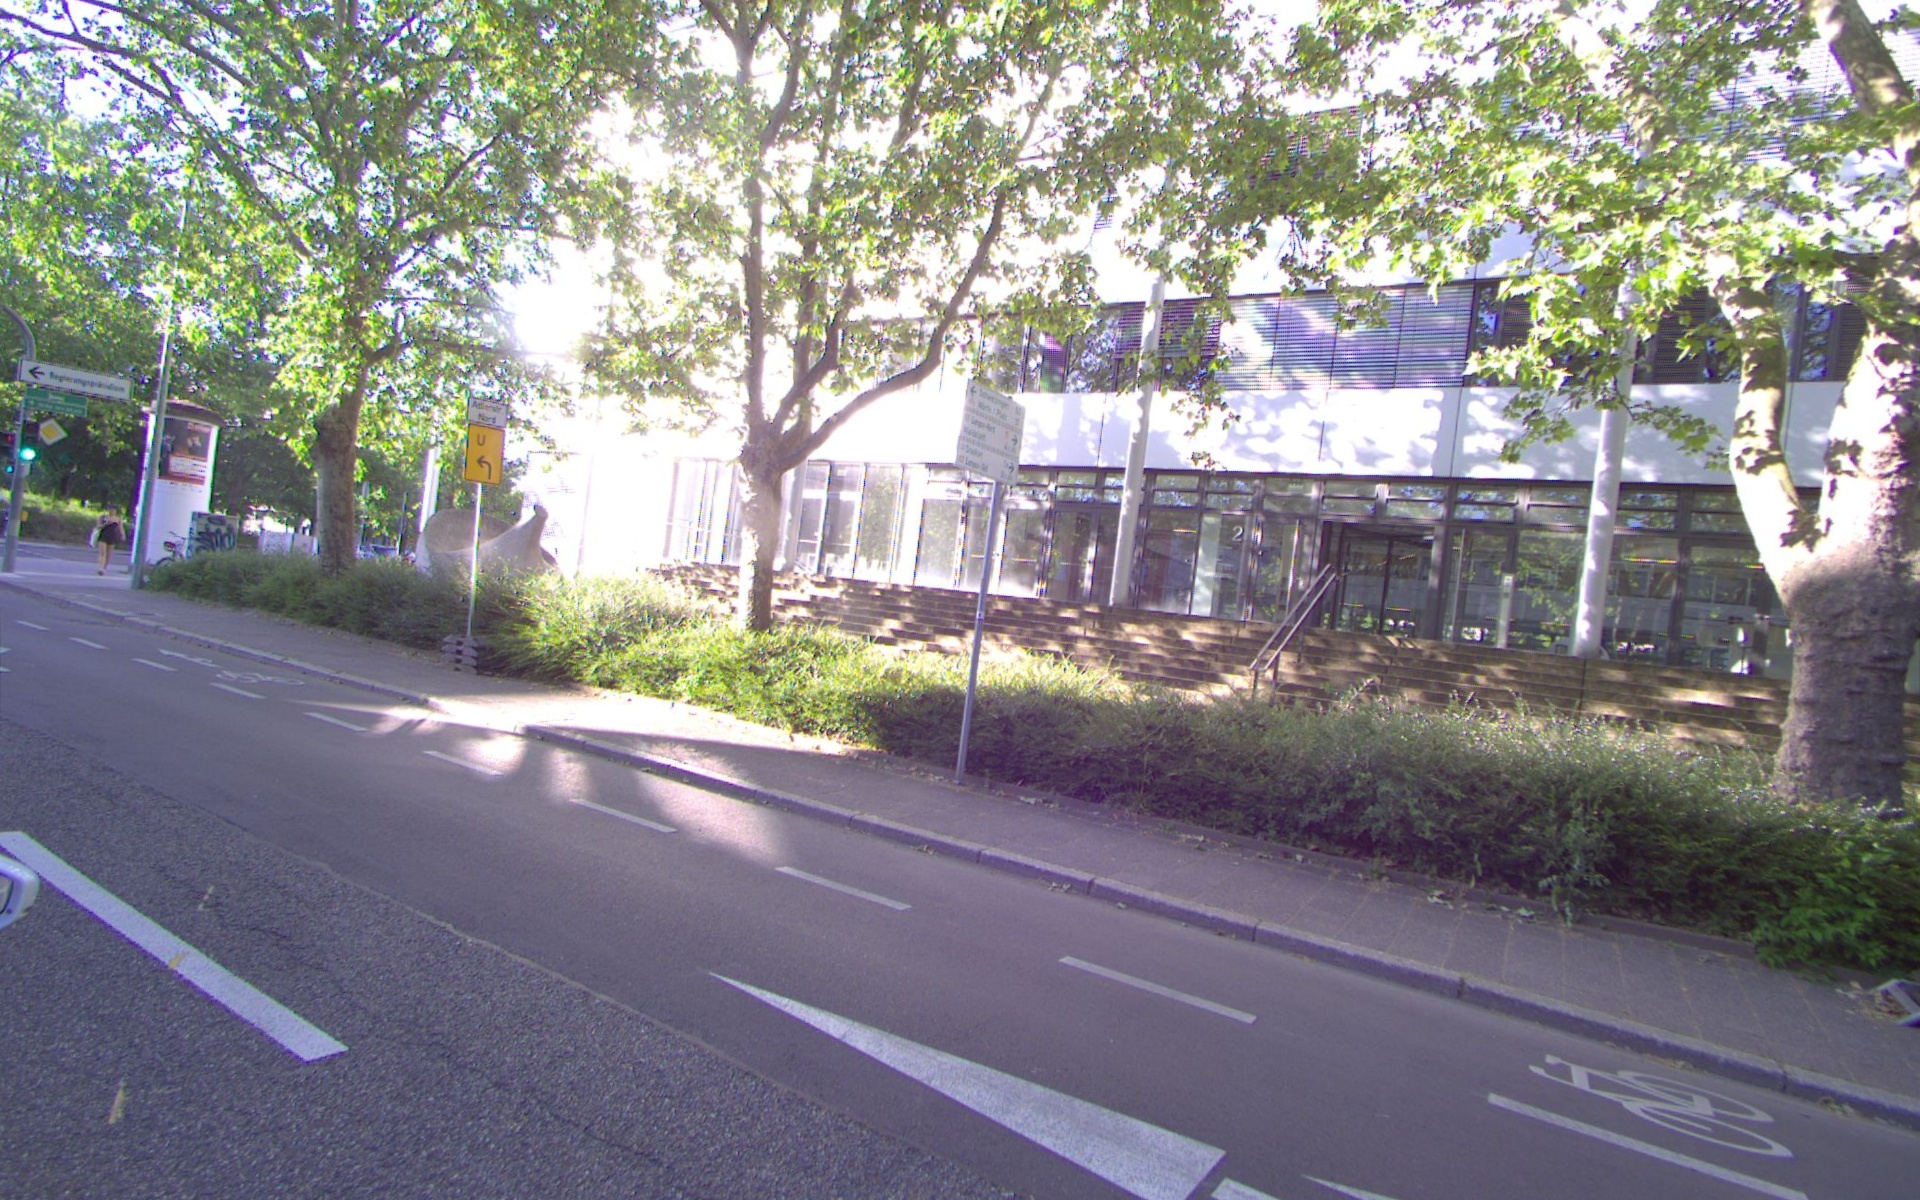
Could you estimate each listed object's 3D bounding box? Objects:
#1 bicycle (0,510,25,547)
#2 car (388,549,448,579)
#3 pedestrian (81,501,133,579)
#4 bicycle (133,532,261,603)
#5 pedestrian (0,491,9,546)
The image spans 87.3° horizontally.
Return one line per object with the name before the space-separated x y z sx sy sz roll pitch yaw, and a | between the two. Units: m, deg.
bicycle | -30.905 -2.340 32.554 1.714 1.113 0.524 6 -1 36
car | -35.559 -2.342 65.976 3.732 1.500 1.633 6 -2 31
pedestrian | -19.389 -1.353 22.868 0.794 1.651 0.897 5 1 -41
bicycle | -15.936 -0.658 21.061 0.519 1.203 1.980 7 -2 30
pedestrian | -31.137 -2.666 32.212 0.955 1.717 0.684 6 -1 35
